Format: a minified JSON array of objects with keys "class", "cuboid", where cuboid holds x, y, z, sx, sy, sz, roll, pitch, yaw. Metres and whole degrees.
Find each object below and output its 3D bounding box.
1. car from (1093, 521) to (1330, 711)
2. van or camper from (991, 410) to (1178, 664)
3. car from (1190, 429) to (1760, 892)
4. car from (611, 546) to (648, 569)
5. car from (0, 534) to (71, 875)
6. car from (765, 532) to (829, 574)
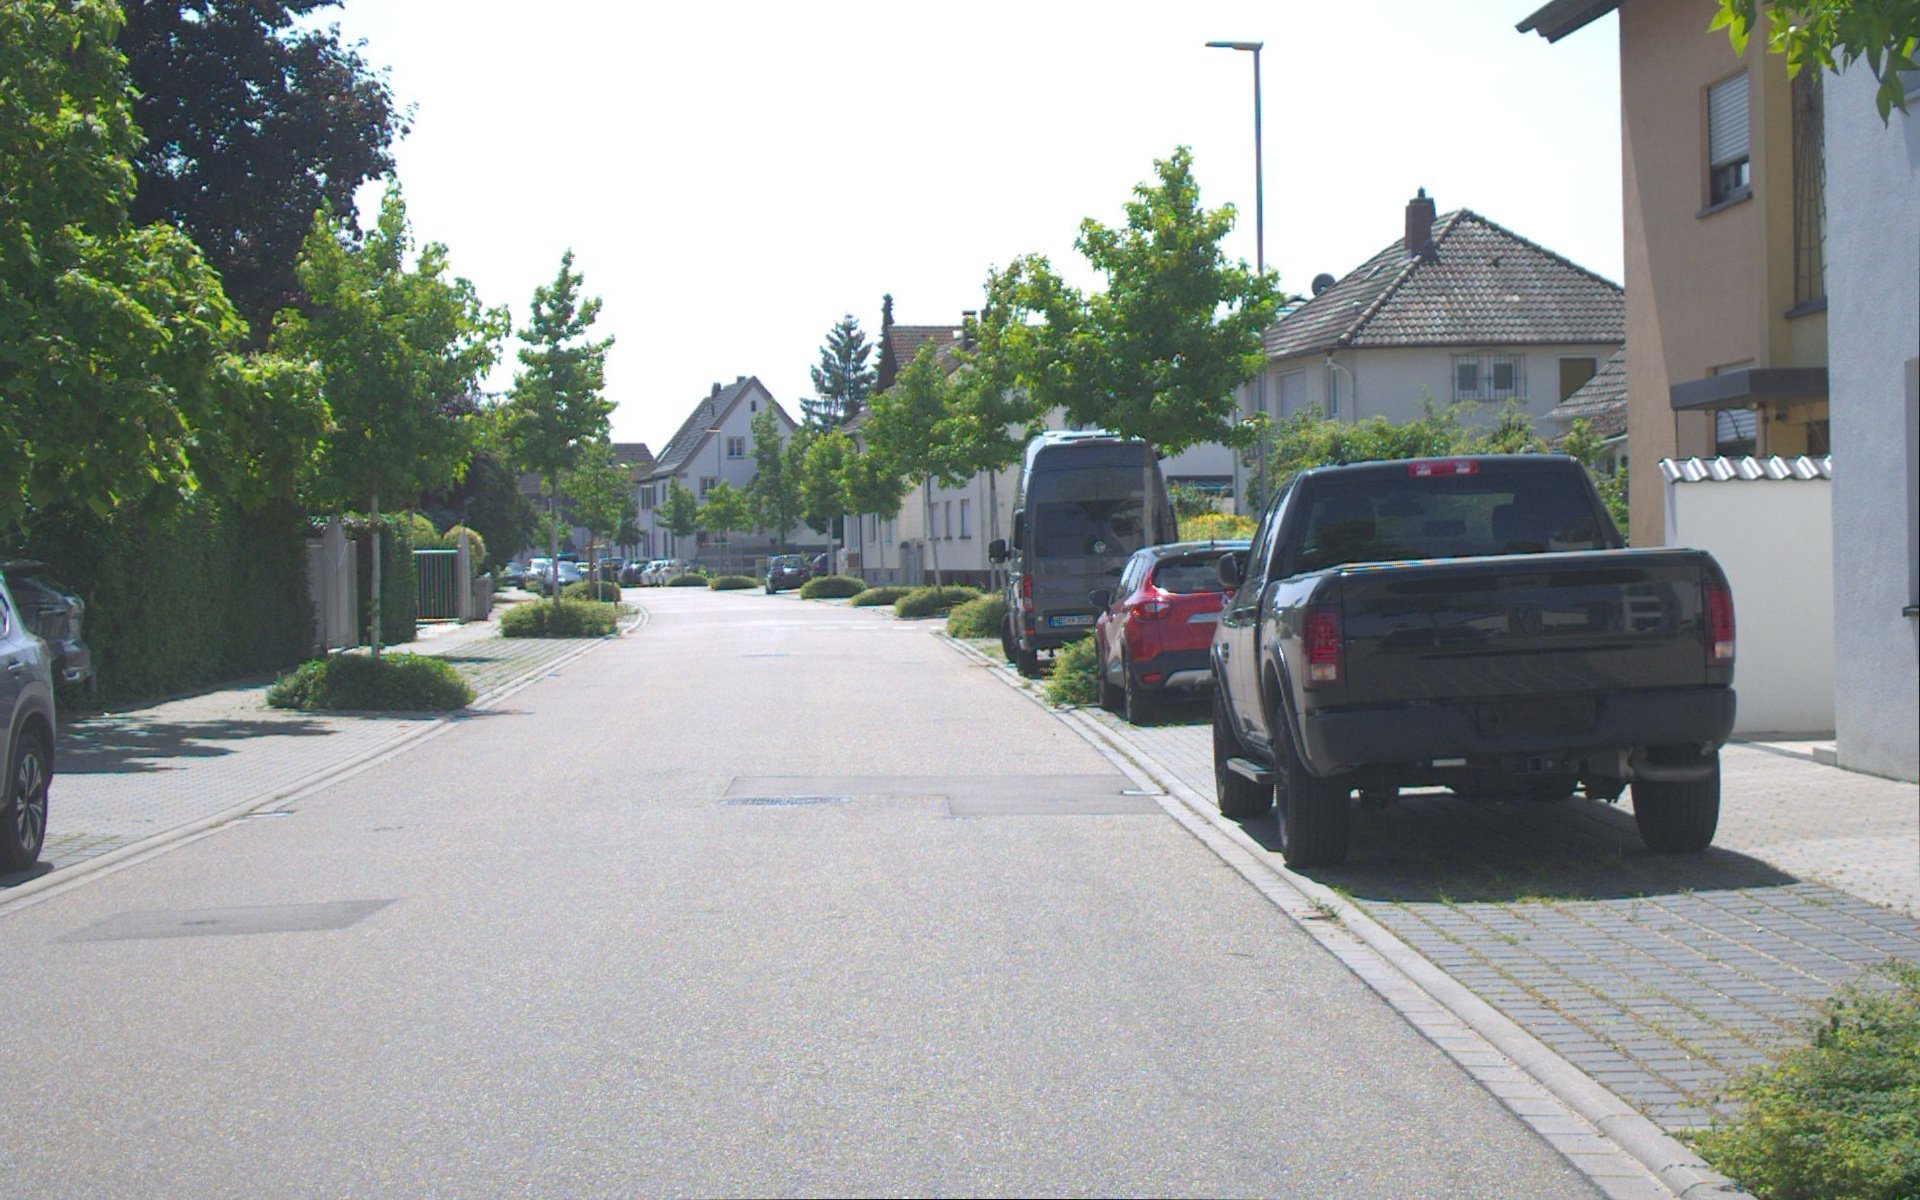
[{"class":"car","cuboid":[2.257,0.108,31.620,1.670,1.590,3.556,-2,1,-3]},{"class":"van or camper","cuboid":[1.490,-0.792,42.524,1.993,2.931,4.000,-2,1,-1]},{"class":"car","cuboid":[2.436,0.208,17.683,1.993,1.940,5.215,-3,1,-1]},{"class":"car","cuboid":[-18.948,-2.414,196.875,1.663,1.246,3.933,-2,1,-12]},{"class":"car","cuboid":[-5.736,0.561,16.235,1.993,1.674,4.215,-2,1,-1]},{"class":"car","cuboid":[-6.510,-1.853,136.603,1.993,1.568,4.001,-2,1,-10]}]
